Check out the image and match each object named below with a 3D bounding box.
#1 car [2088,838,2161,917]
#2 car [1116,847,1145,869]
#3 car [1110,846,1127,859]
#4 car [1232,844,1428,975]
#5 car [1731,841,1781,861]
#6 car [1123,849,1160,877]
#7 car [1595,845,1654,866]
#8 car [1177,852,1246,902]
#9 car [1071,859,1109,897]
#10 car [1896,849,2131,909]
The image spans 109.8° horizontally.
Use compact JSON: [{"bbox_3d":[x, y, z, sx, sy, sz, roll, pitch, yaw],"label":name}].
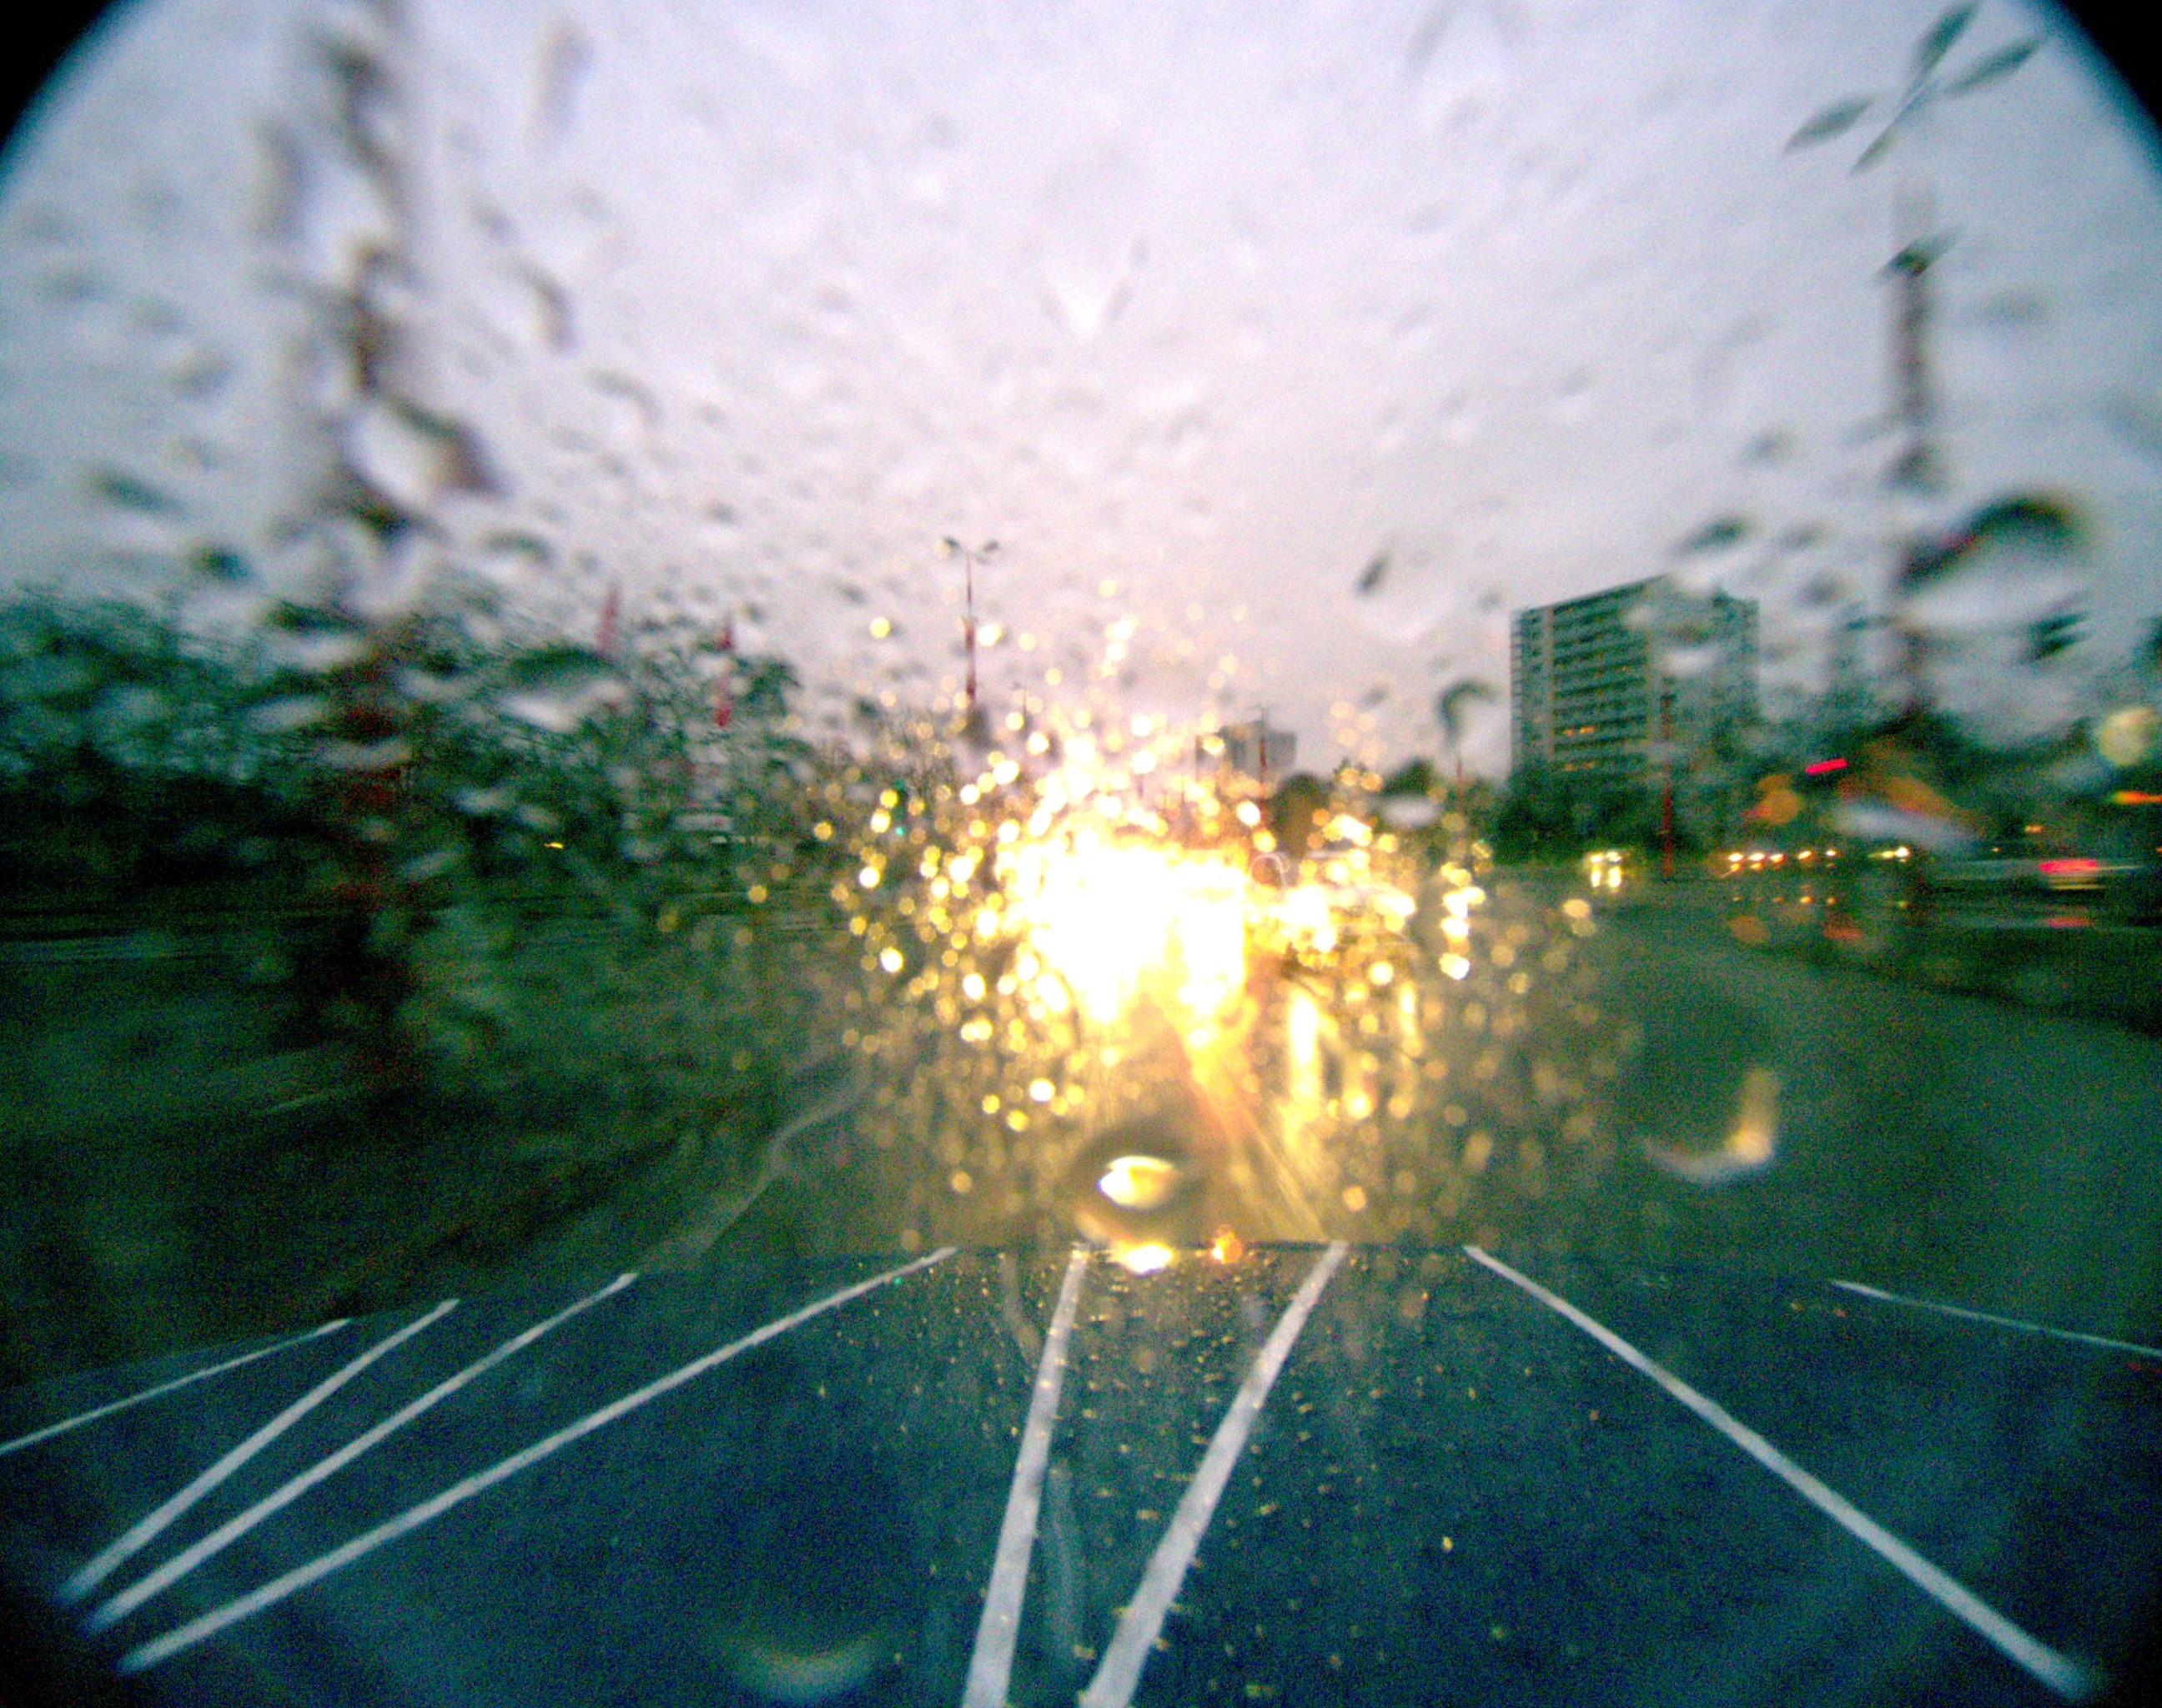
[{"bbox_3d":[22.075,0.453,14.006,1.774,1.544,3.946,-1,0,0],"label":"car"},{"bbox_3d":[3.790,0.277,58.961,1.953,1.590,4.124,-1,1,0],"label":"car"},{"bbox_3d":[4.883,-0.172,99.357,1.998,1.605,4.000,0,0,1],"label":"car"},{"bbox_3d":[3.589,0.686,11.747,1.718,1.638,4.147,-1,1,1],"label":"car"},{"bbox_3d":[55.940,-0.252,62.962,4.005,1.535,1.709,-1,1,-26],"label":"car"},{"bbox_3d":[3.670,0.501,46.902,1.953,1.590,4.124,-1,1,0],"label":"car"},{"bbox_3d":[42.276,0.099,59.097,4.446,1.535,1.848,-1,1,-26],"label":"car"},{"bbox_3d":[4.553,0.756,27.025,1.694,1.530,4.189,-2,1,0],"label":"car"},{"bbox_3d":[0.404,1.082,35.820,1.679,1.590,4.044,-1,1,0],"label":"car"},{"bbox_3d":[25.684,0.619,21.184,1.622,1.486,4.016,-1,0,0],"label":"car"}]
